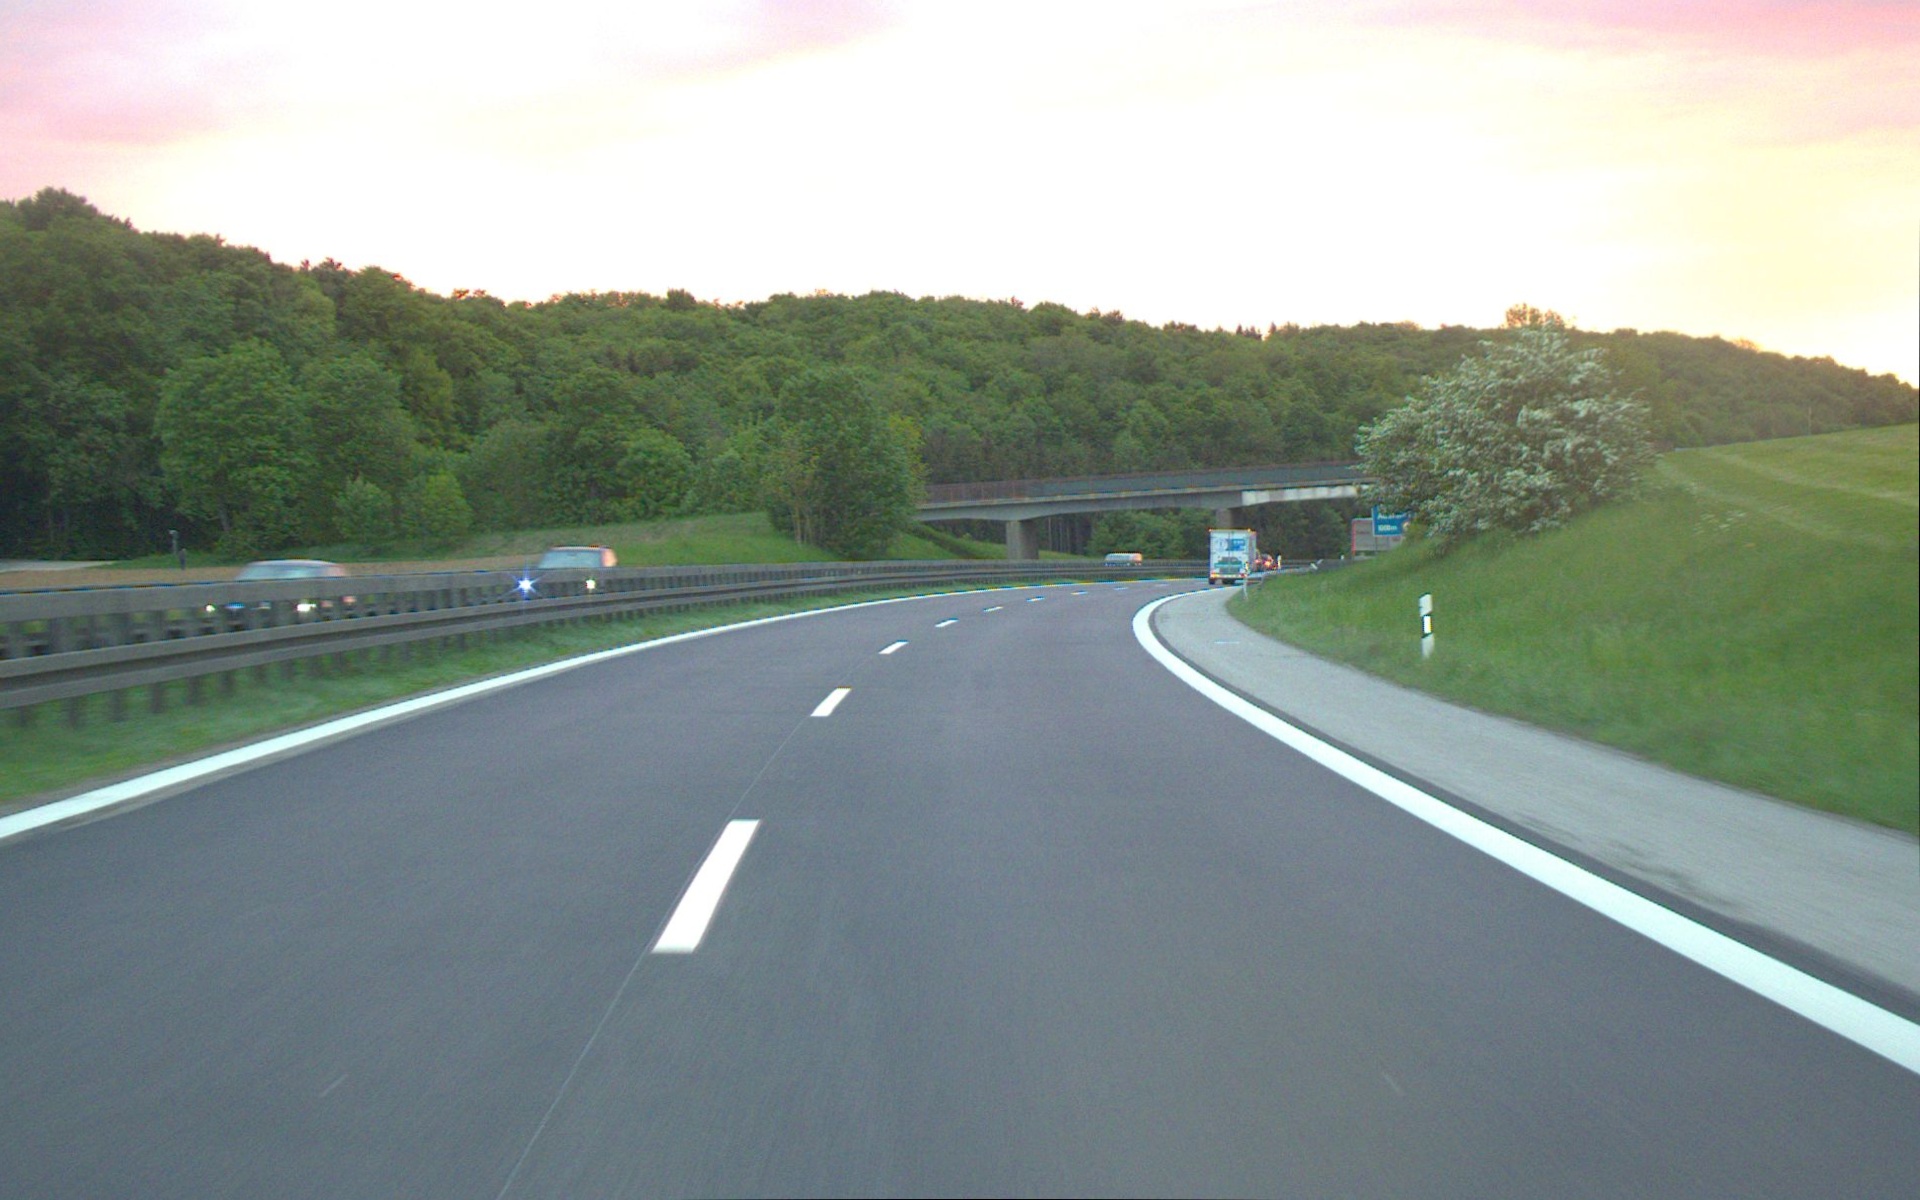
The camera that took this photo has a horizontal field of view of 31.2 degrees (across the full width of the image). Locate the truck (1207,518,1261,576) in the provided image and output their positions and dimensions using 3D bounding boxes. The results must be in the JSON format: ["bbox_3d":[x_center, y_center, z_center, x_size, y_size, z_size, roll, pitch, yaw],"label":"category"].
[{"bbox_3d":[13.322,-2.591,167.118,2.276,2.656,5.235,-2,1,8],"label":"truck"}]

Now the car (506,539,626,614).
[{"bbox_3d":[-9.431,-0.580,82.577,1.994,1.721,4.770,1,1,4],"label":"car"}]

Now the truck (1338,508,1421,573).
[{"bbox_3d":[28.882,-4.032,235.943,3.960,4.272,14.314,-1,1,14],"label":"truck"}]

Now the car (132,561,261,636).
[{"bbox_3d":[-15.678,-0.050,70.767,1.653,1.414,4.000,0,2,2],"label":"car"}]

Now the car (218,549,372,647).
[{"bbox_3d":[-11.063,-0.059,57.420,1.609,1.478,4.000,-1,1,2],"label":"car"}]
